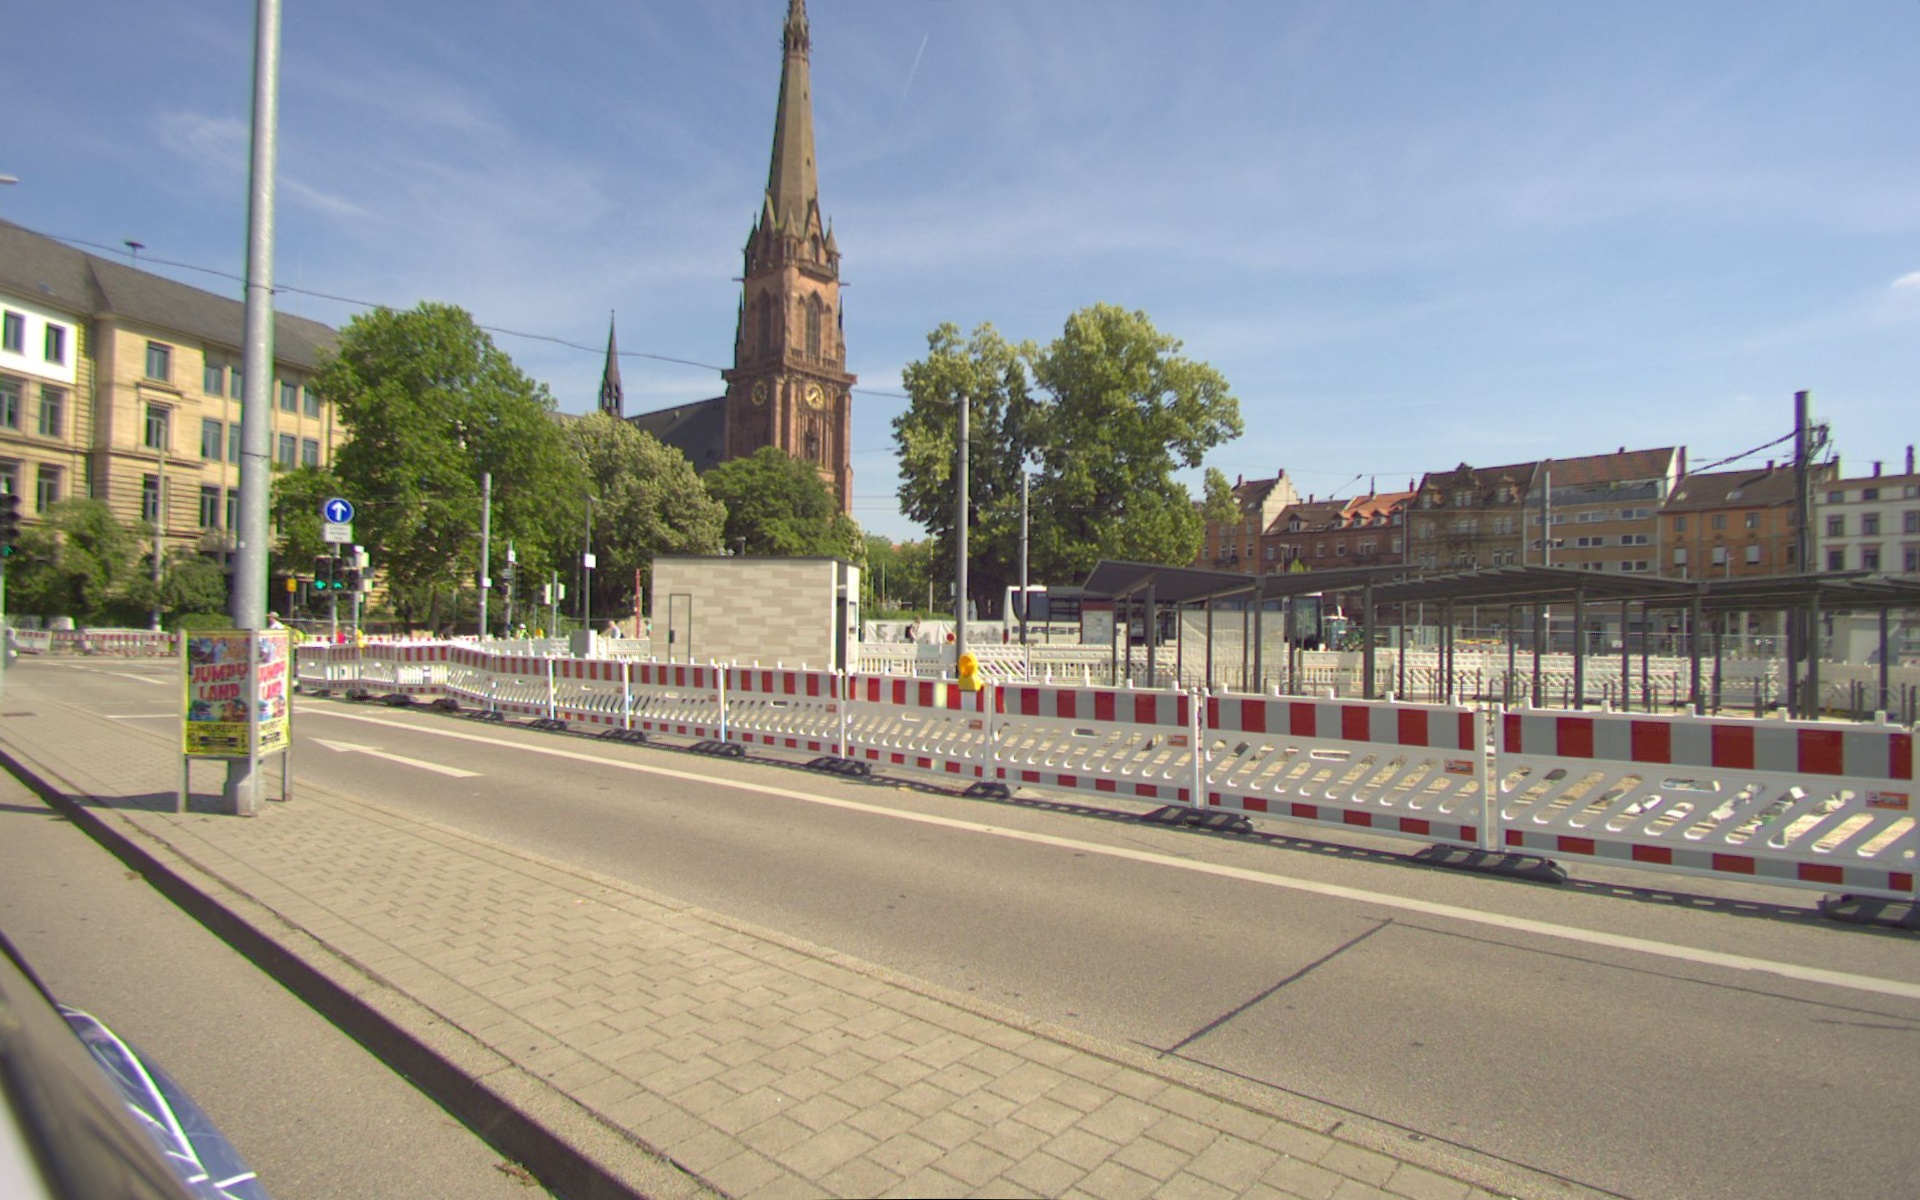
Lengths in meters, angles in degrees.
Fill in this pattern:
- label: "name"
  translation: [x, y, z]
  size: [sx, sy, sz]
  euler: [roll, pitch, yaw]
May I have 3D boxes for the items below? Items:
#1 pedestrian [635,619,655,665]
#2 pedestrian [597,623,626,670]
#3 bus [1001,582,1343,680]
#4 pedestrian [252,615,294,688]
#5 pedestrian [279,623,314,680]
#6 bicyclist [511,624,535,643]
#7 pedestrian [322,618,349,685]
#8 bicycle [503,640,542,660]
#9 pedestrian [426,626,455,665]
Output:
- label: "pedestrian"
  translation: [-11.323, 1.493, 36.371]
  size: [0.576, 1.628, 0.691]
  euler: [0, -2, -9]
- label: "pedestrian"
  translation: [-12.330, 1.639, 35.862]
  size: [0.783, 1.628, 0.662]
  euler: [0, -2, 1]
- label: "bus"
  translation: [7.915, 1.174, 39.079]
  size: [12.504, 3.516, 2.856]
  euler: [0, -2, 7]
- label: "pedestrian"
  translation: [-17.436, 1.293, 25.691]
  size: [0.827, 1.826, 0.651]
  euler: [1, -2, -33]
- label: "pedestrian"
  translation: [-18.442, 1.423, 28.115]
  size: [0.658, 1.555, 0.424]
  euler: [-2, 0, -4]
- label: "bicyclist"
  translation: [-21.989, 1.677, 50.908]
  size: [0.858, 0.934, 0.682]
  euler: [1, -2, 2]
- label: "pedestrian"
  translation: [-15.481, 1.276, 25.072]
  size: [0.686, 1.628, 0.346]
  euler: [-1, -3, 42]
- label: "bicycle"
  translation: [-21.976, 2.505, 50.875]
  size: [1.643, 0.954, 0.701]
  euler: [1, -2, 2]
- label: "pedestrian"
  translation: [-22.921, 1.995, 44.677]
  size: [0.926, 1.668, 0.845]
  euler: [2, -3, -41]
